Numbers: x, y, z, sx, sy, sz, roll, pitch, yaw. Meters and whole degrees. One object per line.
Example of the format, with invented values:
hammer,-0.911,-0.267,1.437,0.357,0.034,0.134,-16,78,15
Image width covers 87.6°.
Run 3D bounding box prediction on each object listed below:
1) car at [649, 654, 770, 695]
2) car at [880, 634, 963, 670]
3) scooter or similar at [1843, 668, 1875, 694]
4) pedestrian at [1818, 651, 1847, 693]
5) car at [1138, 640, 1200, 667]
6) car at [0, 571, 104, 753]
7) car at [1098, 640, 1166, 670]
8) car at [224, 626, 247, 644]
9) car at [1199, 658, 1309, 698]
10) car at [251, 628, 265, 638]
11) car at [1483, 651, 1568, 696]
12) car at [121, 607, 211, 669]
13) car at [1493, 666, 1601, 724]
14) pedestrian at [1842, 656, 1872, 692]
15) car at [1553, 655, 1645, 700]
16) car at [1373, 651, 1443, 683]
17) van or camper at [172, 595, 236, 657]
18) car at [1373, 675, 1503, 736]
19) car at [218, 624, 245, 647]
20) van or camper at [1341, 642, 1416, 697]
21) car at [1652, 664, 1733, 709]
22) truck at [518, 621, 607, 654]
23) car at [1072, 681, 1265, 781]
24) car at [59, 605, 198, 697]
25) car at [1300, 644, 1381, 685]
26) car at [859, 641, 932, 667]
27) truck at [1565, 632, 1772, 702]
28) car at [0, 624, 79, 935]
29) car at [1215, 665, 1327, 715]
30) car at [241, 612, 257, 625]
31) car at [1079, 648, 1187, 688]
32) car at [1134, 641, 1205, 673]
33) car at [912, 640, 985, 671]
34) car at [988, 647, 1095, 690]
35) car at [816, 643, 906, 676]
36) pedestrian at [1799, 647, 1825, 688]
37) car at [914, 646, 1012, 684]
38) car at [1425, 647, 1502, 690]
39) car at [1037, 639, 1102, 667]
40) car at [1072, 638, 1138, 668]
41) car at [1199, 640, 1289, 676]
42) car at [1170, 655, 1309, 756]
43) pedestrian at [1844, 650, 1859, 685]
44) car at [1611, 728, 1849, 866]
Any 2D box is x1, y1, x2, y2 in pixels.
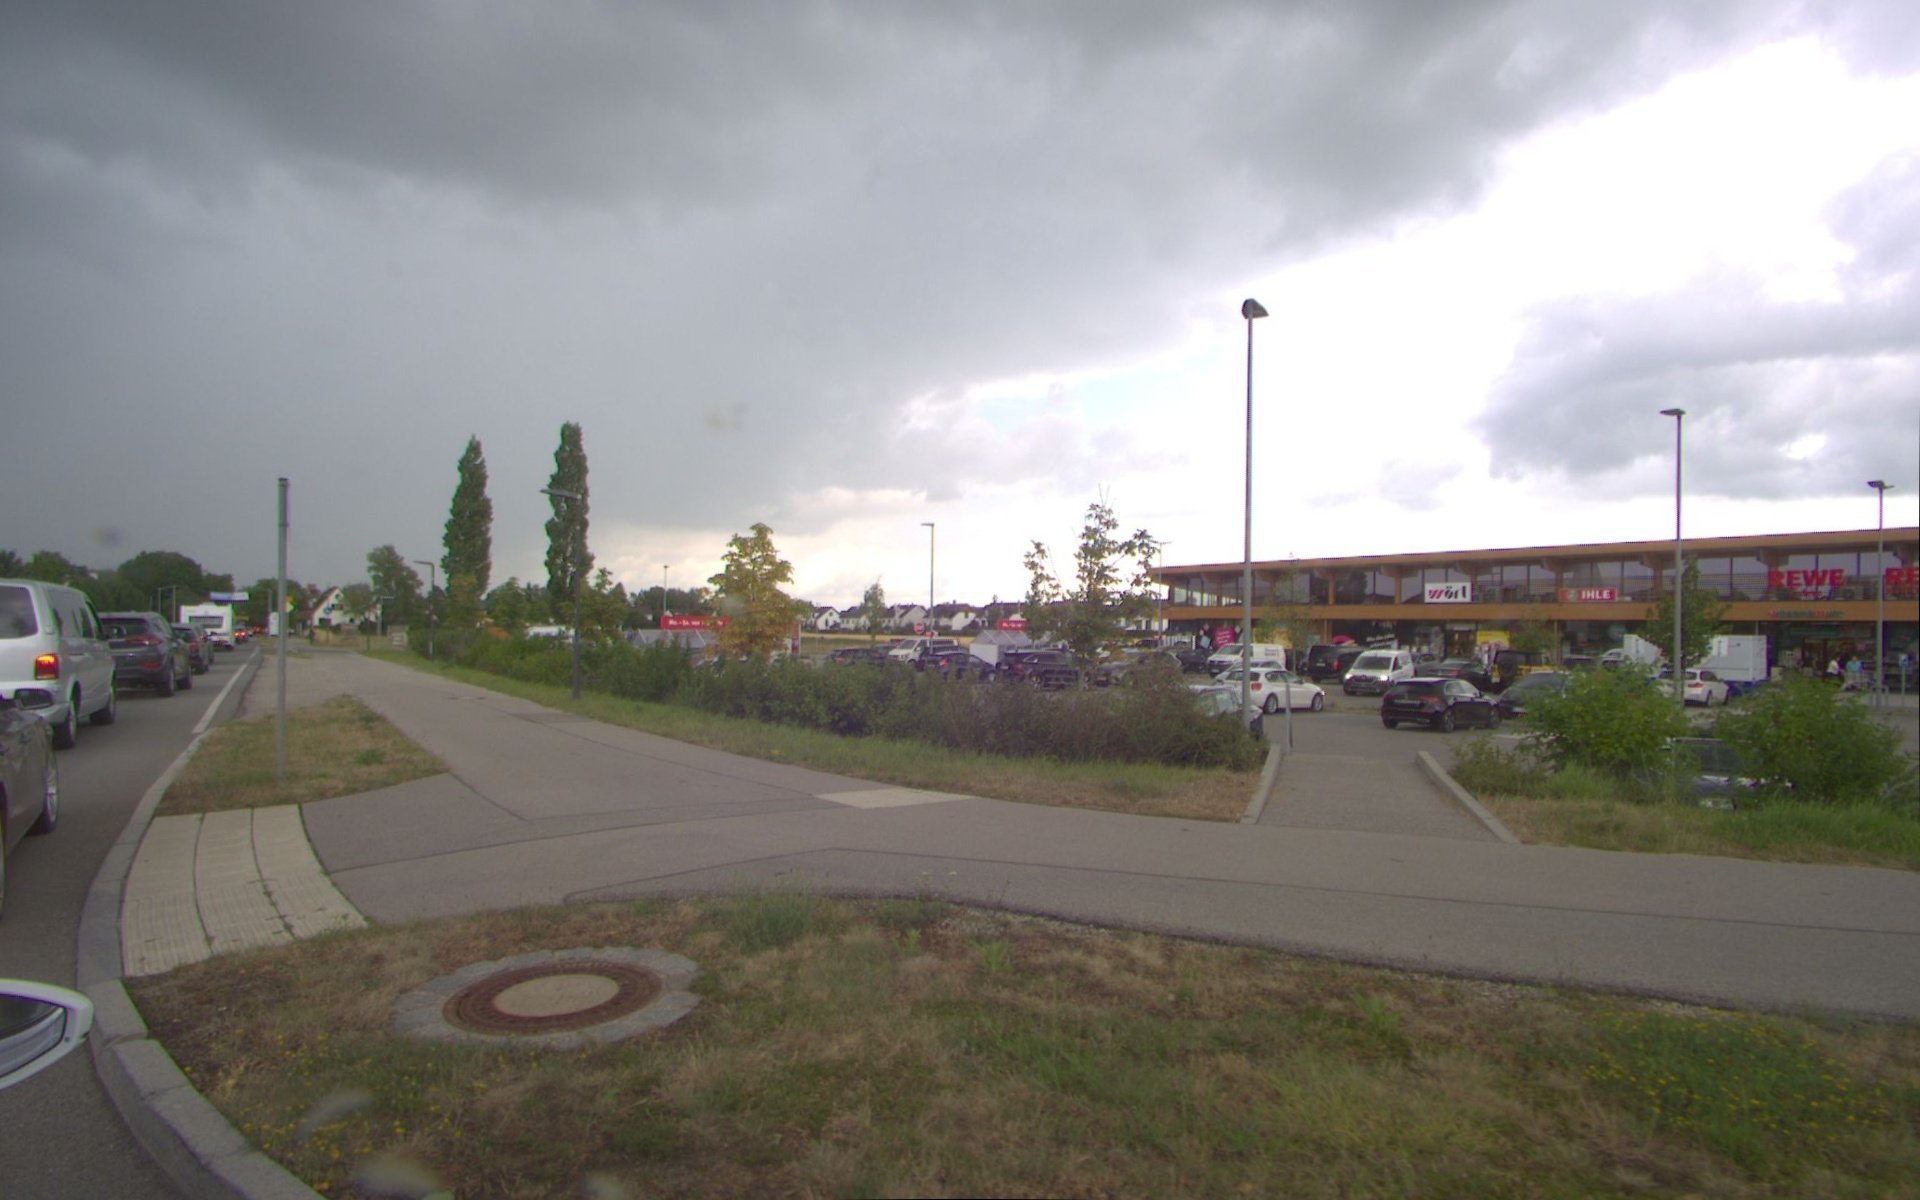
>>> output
car,-9.851,2.904,39.420,4.193,1.458,1.987,2,-2,-35
car,-2.272,3.136,60.975,1.979,2.040,5.079,1,-1,44
scooter or similar,41.855,3.784,46.628,0.785,1.140,0.994,5,-4,-39
pedestrian,41.271,3.394,47.384,0.785,1.921,0.921,5,-3,-40
car,14.408,3.662,69.039,3.947,1.794,1.988,2,-2,-33
car,-11.785,0.693,12.161,1.852,1.959,3.970,2,-2,-38
car,10.878,3.473,63.224,3.947,1.861,1.989,2,-2,-33
car,-67.858,3.282,93.792,1.598,1.651,3.593,2,-2,-34
car,12.232,3.211,41.578,4.730,1.503,1.891,2,-2,-36
car,-101.577,4.743,144.931,1.598,1.426,3.593,2,-2,-34
car,24.944,3.224,44.131,3.951,1.878,1.760,3,-2,-35
car,-22.685,1.080,28.723,1.760,1.638,3.974,1,-2,-35
car,18.295,2.907,31.151,3.958,1.573,1.717,2,-2,-41
pedestrian,42.608,3.498,47.552,0.736,1.679,0.805,1,-1,10
car,26.195,3.157,41.008,4.071,1.746,1.839,3,-4,-36
car,24.282,3.590,54.206,4.178,1.632,1.754,3,-3,-39
van or camper,-43.590,1.574,57.886,2.601,3.365,6.777,2,-3,-35
car,13.366,2.884,27.928,3.956,1.416,1.821,2,-2,-40
car,-60.688,2.945,83.481,1.598,1.816,3.975,2,-2,-34
van or camper,17.536,2.831,41.822,1.743,2.125,4.774,0,-2,38
car,28.415,3.309,38.813,3.957,1.549,1.717,2,-2,-41
truck,-24.429,2.339,61.632,4.759,1.896,1.984,3,-3,-39
car,4.178,2.482,19.736,3.963,1.627,1.773,4,-2,-44
car,-16.600,0.953,20.172,1.759,1.639,3.974,-1,-1,-34
car,19.539,3.324,51.374,3.952,1.860,1.987,5,-4,-35
car,-4.058,3.385,62.957,4.270,1.598,1.757,2,-2,-33
truck,31.945,2.923,45.411,2.944,2.843,7.198,2,-2,-39
car,-5.930,0.842,5.156,1.768,1.409,4.102,0,-1,-37
car,10.288,2.934,33.022,3.953,1.503,1.669,3,-3,-40
car,-128.485,3.326,180.903,1.972,2.240,3.979,2,-2,-30
car,7.965,3.060,45.864,4.928,1.686,1.986,2,-2,-36
car,12.703,3.448,60.764,3.945,1.861,1.989,2,-2,-31
car,-0.653,3.242,58.112,3.951,1.727,1.704,3,-3,-36
car,3.475,2.908,42.531,4.410,1.727,1.791,3,-3,-36
car,-5.351,3.188,54.439,4.514,1.686,1.987,2,-2,-35
pedestrian,43.410,3.438,51.022,0.797,2.039,0.924,1,-1,-41
car,0.169,3.081,47.654,4.363,1.686,1.987,2,-2,-35
car,23.359,3.151,46.398,3.956,1.878,1.758,2,-2,-40
car,7.404,3.566,67.682,3.946,1.861,1.989,2,-2,-32
car,9.490,3.457,65.410,3.945,1.861,1.989,2,-2,-31
car,15.730,3.204,55.366,5.238,1.854,1.987,3,-3,-35
car,4.220,1.495,14.764,1.552,1.221,3.750,2,-4,22
pedestrian,49.864,3.773,56.027,0.520,1.974,0.573,1,-1,-43
car,10.961,2.725,14.567,1.552,1.389,3.729,1,-2,18
